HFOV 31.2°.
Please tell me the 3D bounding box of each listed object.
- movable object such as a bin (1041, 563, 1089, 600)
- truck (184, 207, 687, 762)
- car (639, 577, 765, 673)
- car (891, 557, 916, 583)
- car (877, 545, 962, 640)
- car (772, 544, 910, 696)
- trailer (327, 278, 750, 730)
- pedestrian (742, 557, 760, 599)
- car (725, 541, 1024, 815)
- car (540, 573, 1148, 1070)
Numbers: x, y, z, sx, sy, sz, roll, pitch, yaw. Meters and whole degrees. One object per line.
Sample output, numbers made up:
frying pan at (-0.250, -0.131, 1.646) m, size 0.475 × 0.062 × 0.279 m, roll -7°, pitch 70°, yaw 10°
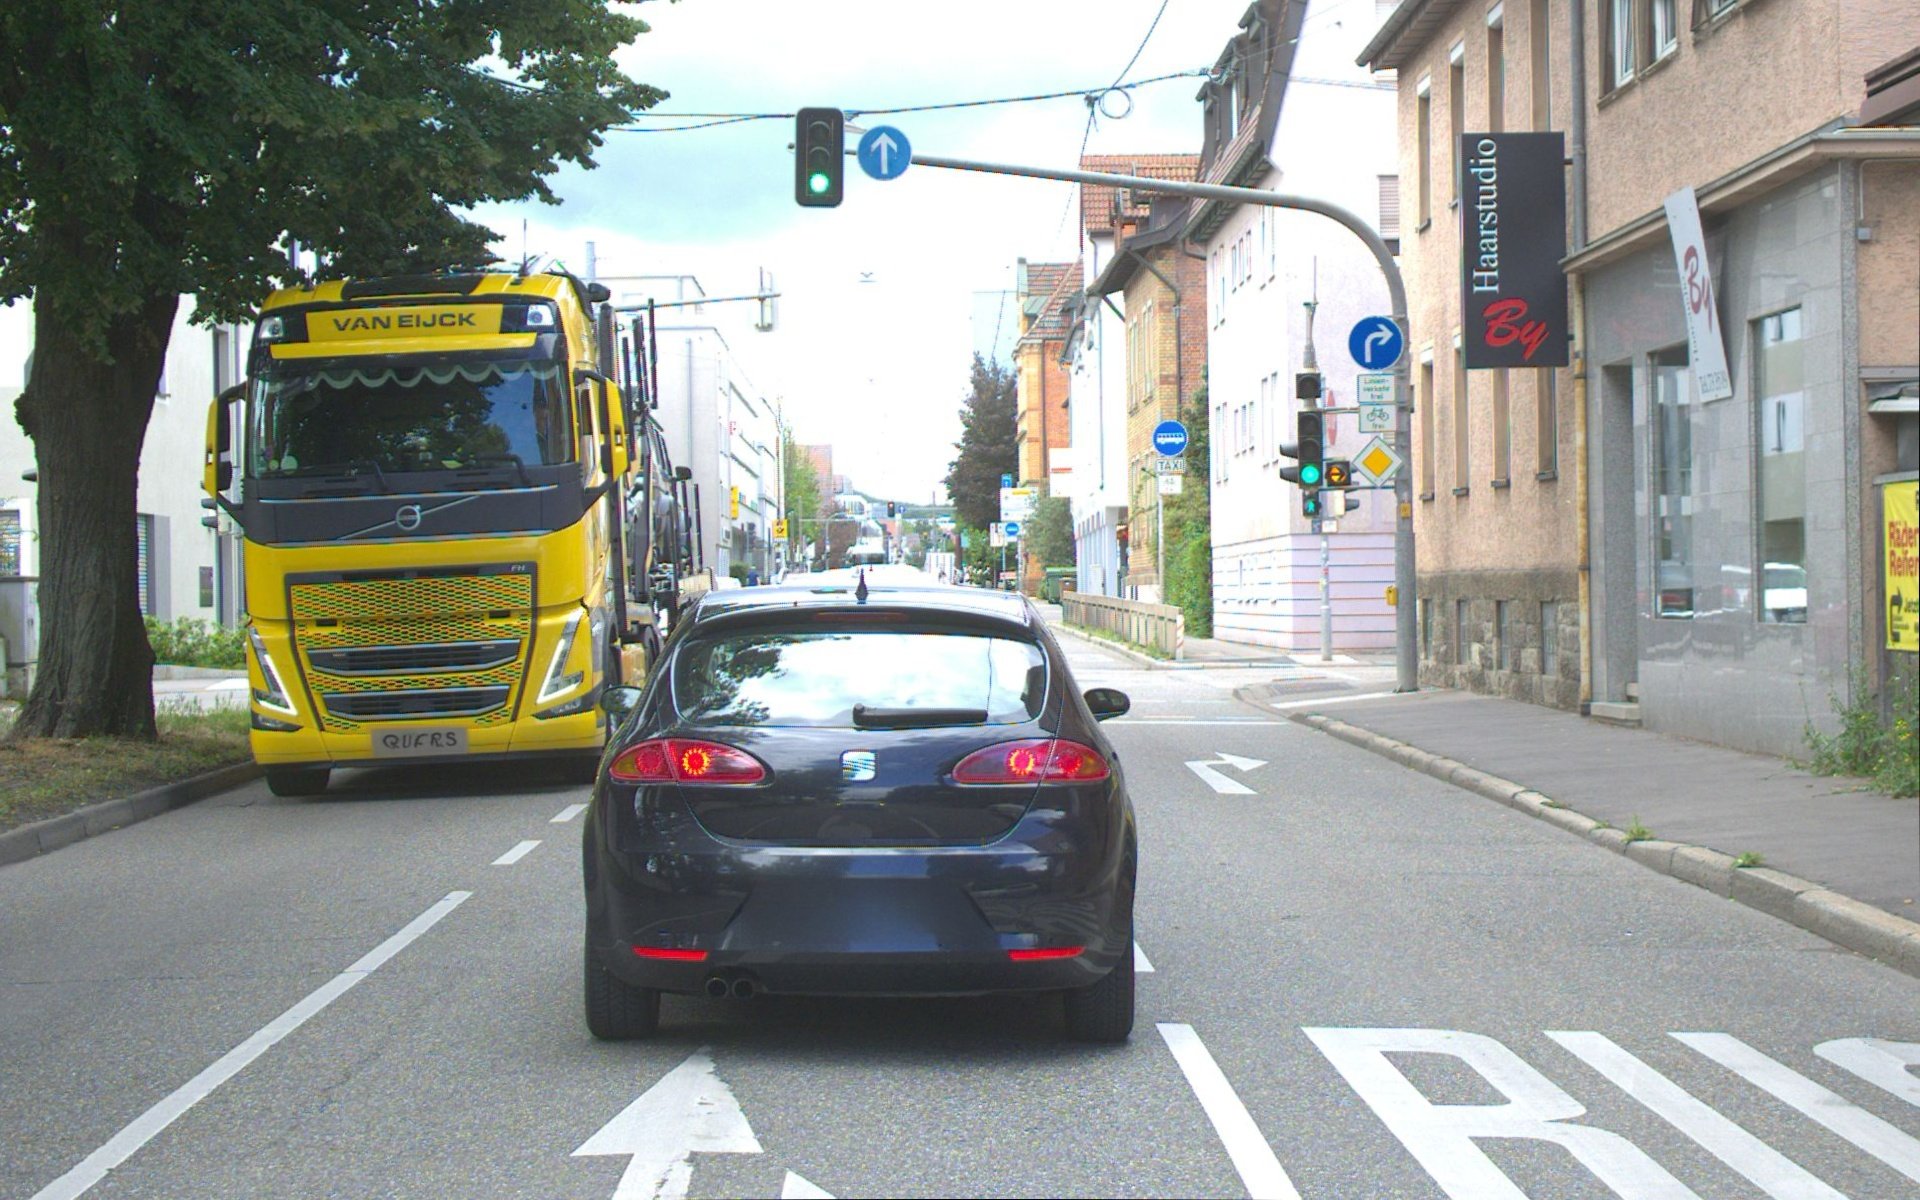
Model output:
movable object such as a bin at (4.124, -0.724, 135.423) m, size 1.818 × 1.432 × 1.993 m, roll 0°, pitch 0°, yaw 0°
truck at (-3.883, -0.795, 27.303) m, size 2.843 × 3.769 × 7.669 m, roll 0°, pitch 0°, yaw 0°
car at (-4.329, 0.399, 58.160) m, size 1.767 × 1.465 × 4.226 m, roll -3°, pitch 0°, yaw 0°
car at (-3.697, -1.969, 224.264) m, size 1.531 × 1.687 × 3.693 m, roll -1°, pitch 1°, yaw -1°
car at (-0.772, -0.139, 63.773) m, size 1.531 × 1.687 × 3.693 m, roll 0°, pitch 0°, yaw -1°
car at (-1.369, 0.219, 40.319) m, size 1.531 × 1.687 × 3.693 m, roll 0°, pitch 0°, yaw -1°
trailer at (-4.003, -0.822, 36.263) m, size 2.858 × 3.795 × 14.391 m, roll 0°, pitch 0°, yaw -1°
pedestrian at (-8.701, -0.913, 143.257) m, size 0.730 × 1.723 × 0.859 m, roll 0°, pitch 0°, yaw -2°
car at (-0.577, 0.480, 23.349) m, size 1.842 × 1.687 × 4.000 m, roll 0°, pitch 0°, yaw -1°
car at (-0.371, 0.643, 12.016) m, size 1.759 × 1.437 × 4.000 m, roll 0°, pitch 0°, yaw -1°
